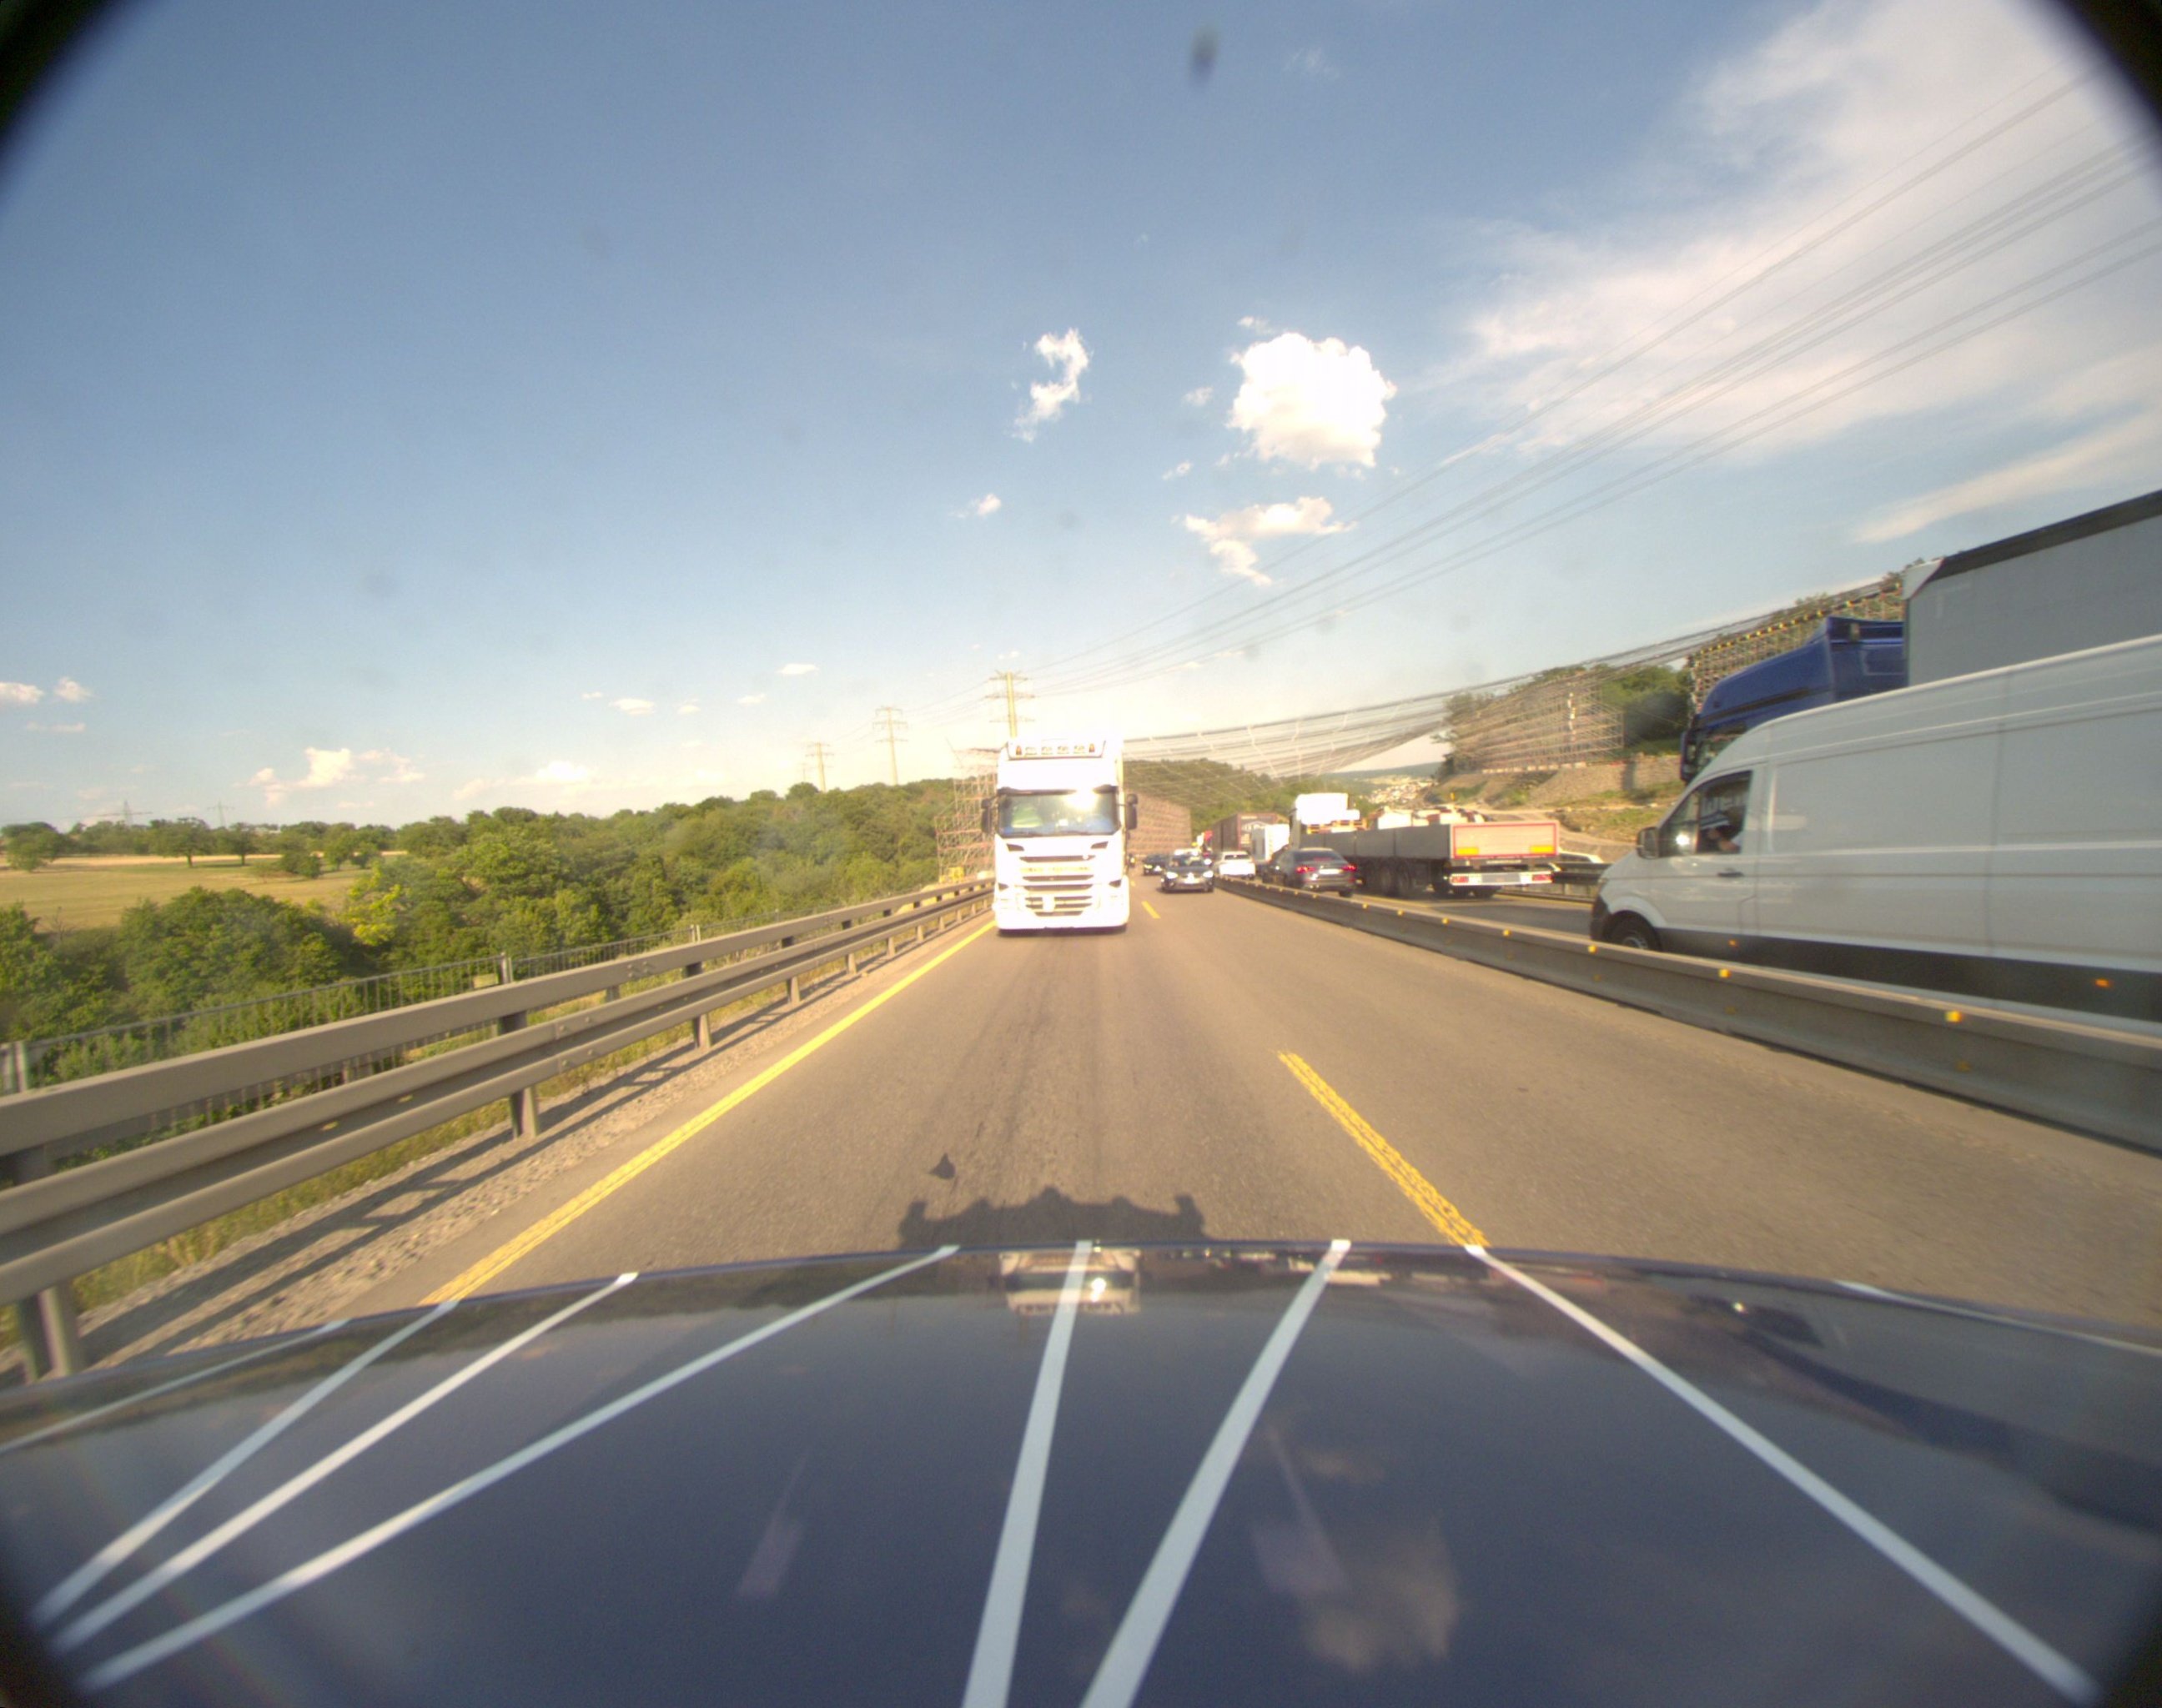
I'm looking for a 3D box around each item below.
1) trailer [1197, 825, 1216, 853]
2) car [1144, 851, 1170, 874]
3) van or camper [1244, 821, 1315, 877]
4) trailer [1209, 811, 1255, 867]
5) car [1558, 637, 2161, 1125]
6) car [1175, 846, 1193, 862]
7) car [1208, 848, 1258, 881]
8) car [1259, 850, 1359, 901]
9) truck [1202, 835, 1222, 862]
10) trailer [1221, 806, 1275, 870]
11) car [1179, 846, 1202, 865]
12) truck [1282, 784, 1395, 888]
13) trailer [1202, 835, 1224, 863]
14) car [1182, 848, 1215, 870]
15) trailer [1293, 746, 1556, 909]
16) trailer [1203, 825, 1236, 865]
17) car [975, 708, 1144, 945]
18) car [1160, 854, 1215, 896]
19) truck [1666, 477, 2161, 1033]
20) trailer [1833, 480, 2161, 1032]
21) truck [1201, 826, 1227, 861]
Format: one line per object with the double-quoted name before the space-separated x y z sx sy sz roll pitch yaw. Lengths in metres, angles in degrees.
"trailer" 18.831 -2.165 114.692 2.432 3.940 14.106 -1 1 8
"car" 5.091 0.538 50.846 1.675 1.376 3.824 -1 1 6
"van or camper" 11.170 -0.299 43.418 2.413 2.875 7.619 -1 1 3
"trailer" 12.507 -1.216 63.838 2.481 4.303 10.513 -1 1 4
"car" 6.499 0.109 5.201 2.062 2.486 6.774 -1 1 -1
"car" 12.702 -0.004 94.047 1.821 1.914 4.837 -1 1 4
"car" 7.620 0.482 38.392 1.763 1.499 4.254 -1 1 1
"car" 6.855 0.582 23.376 1.763 1.370 4.767 -1 1 2
"truck" 17.435 -0.734 101.593 2.418 3.351 5.620 -1 1 8
"trailer" 11.809 -1.093 54.325 2.448 4.164 8.545 -1 1 4
"car" 9.861 0.117 68.703 1.760 1.685 4.454 -1 1 4
"truck" 10.298 -0.686 31.097 2.607 3.732 6.517 -1 1 3
"trailer" 16.600 -0.649 95.900 2.311 3.342 12.058 -1 1 8
"car" 8.359 0.309 54.479 1.798 1.502 4.586 -1 0 3
"trailer" 9.911 -0.672 24.578 2.526 3.703 13.978 -1 1 2
"trailer" 14.227 -0.944 78.857 2.312 3.768 12.056 -1 1 6
"car" -0.374 -0.512 17.477 2.858 4.092 8.279 -1 1 0
"car" 3.863 0.716 28.087 1.764 1.376 3.823 -1 1 5
"truck" 9.263 -0.765 7.707 2.509 4.042 5.666 -1 1 4
"trailer" 9.224 -0.705 0.844 2.313 4.106 14.598 -1 1 0
"truck" 14.721 -1.170 84.359 2.437 3.763 5.619 -1 1 6
